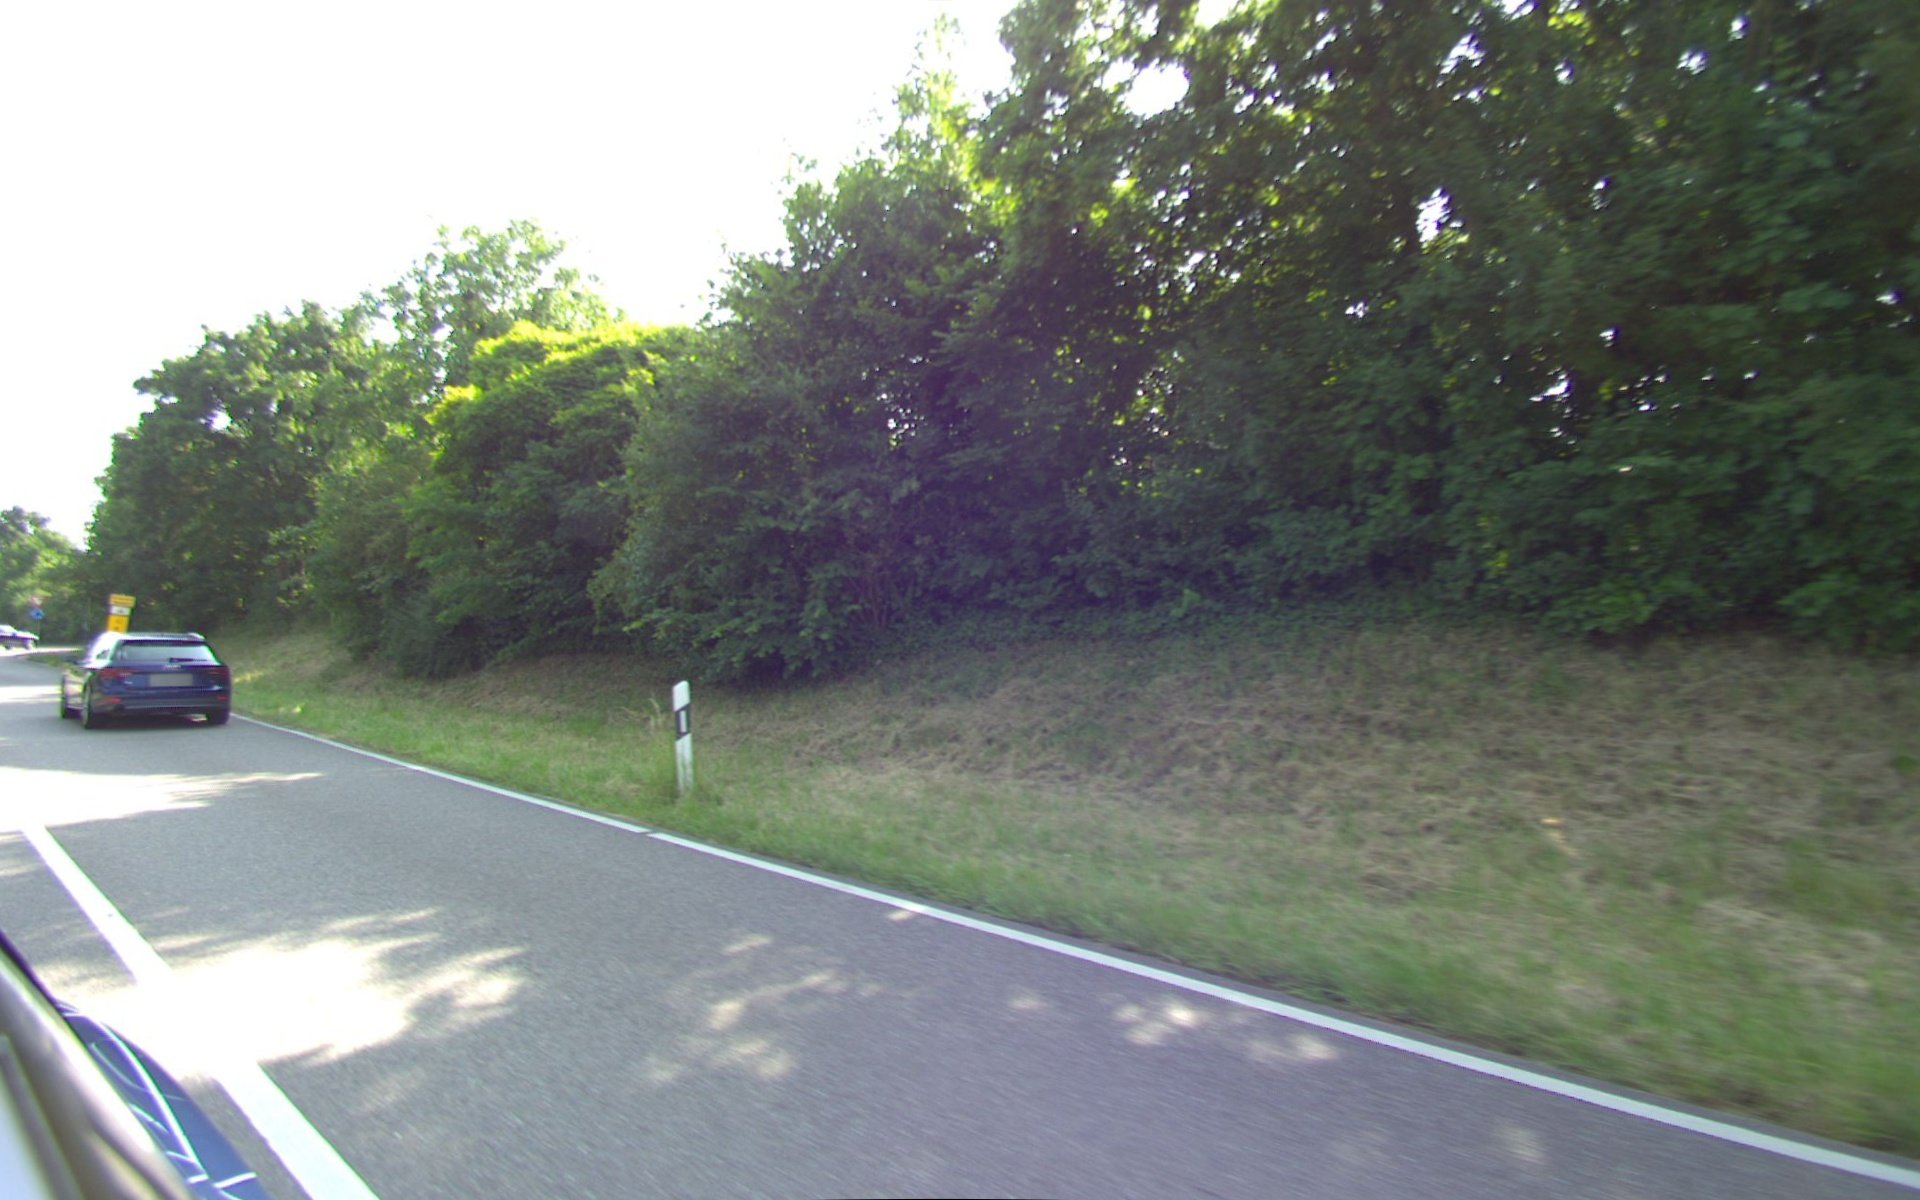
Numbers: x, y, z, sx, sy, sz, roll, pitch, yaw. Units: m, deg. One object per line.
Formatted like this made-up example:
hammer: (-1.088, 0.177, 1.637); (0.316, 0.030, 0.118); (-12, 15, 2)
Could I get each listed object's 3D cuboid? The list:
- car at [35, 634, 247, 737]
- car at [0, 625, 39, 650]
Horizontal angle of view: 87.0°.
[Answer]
car: (-13.337, 1.297, 16.382); (4.574, 1.434, 1.850); (-2, -4, 41)
car: (-62.861, 2.439, 65.511); (1.932, 1.614, 4.605); (-1, -2, 11)
